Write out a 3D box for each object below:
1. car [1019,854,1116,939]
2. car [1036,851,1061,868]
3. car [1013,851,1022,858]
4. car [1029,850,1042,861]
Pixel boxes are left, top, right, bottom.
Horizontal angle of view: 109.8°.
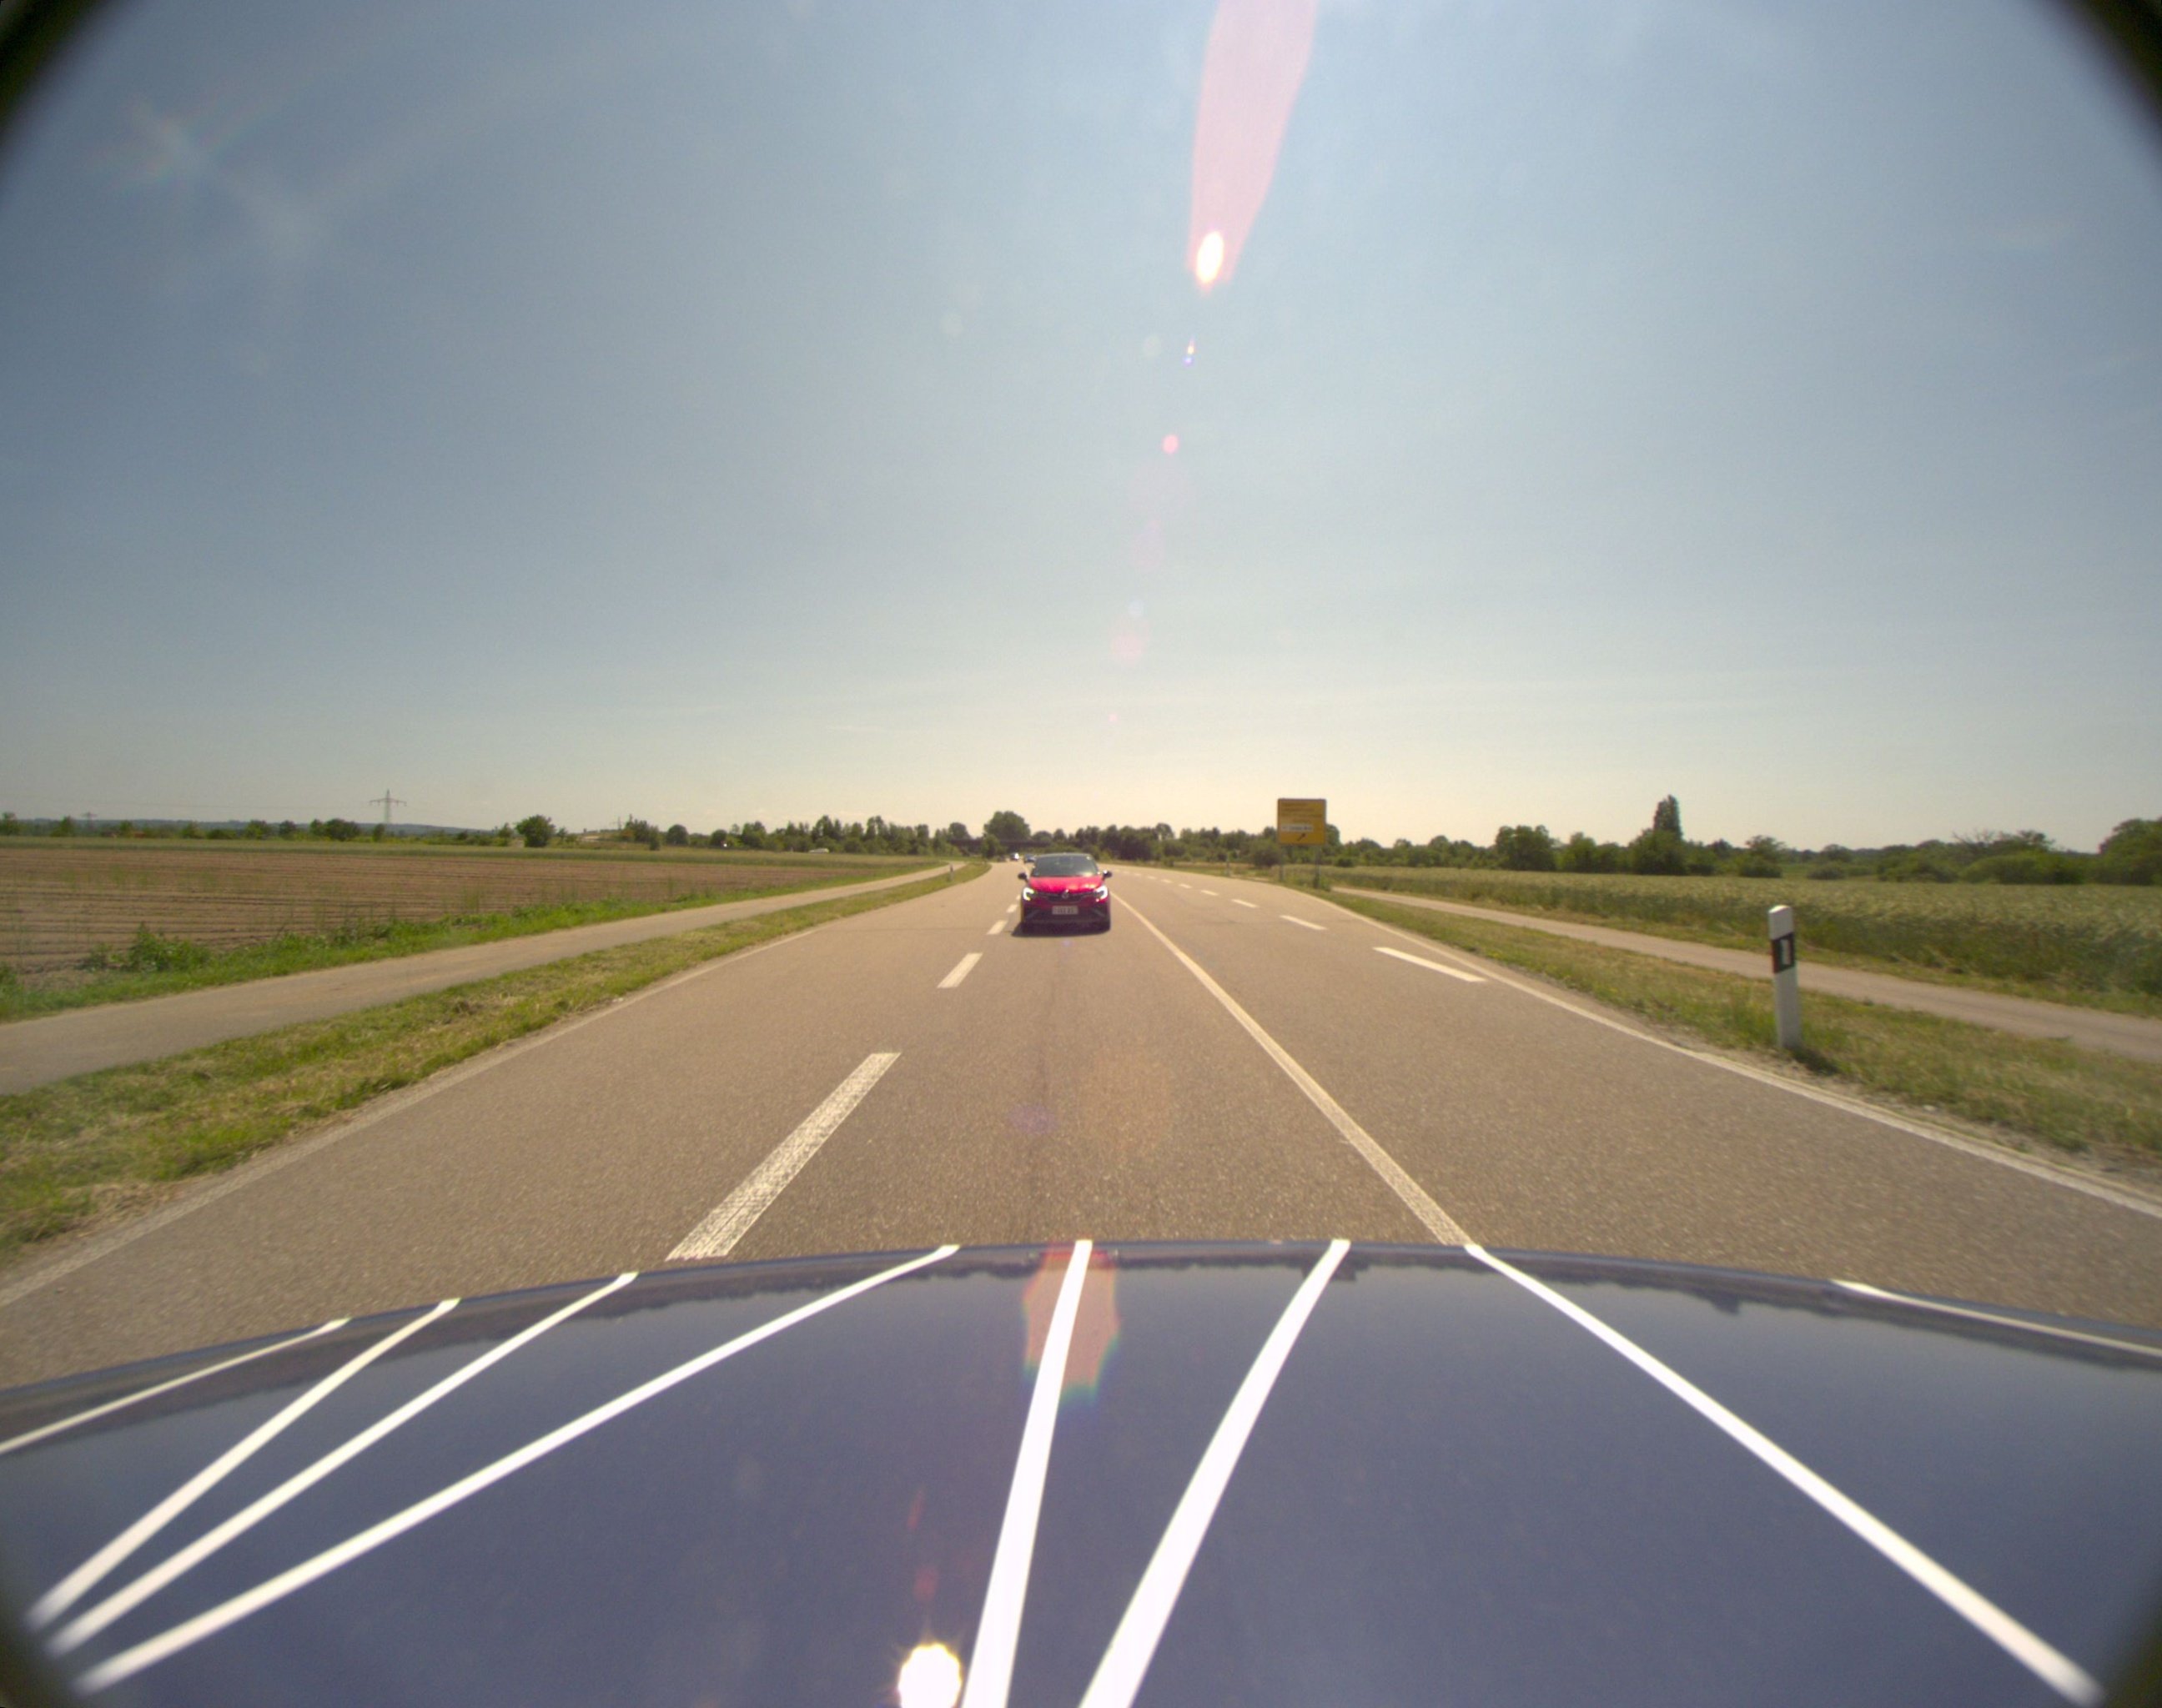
[{"bbox_3d":[-0.230,0.815,16.931,1.837,1.587,4.721,0,0,1],"label":"car"},{"bbox_3d":[-3.122,0.491,74.380,1.983,1.587,5.402,0,0,2],"label":"car"},{"bbox_3d":[-14.379,0.102,172.006,1.984,1.587,5.399,0,0,-5],"label":"car"},{"bbox_3d":[-7.402,0.214,122.866,1.984,1.587,5.398,0,0,-6],"label":"car"}]
